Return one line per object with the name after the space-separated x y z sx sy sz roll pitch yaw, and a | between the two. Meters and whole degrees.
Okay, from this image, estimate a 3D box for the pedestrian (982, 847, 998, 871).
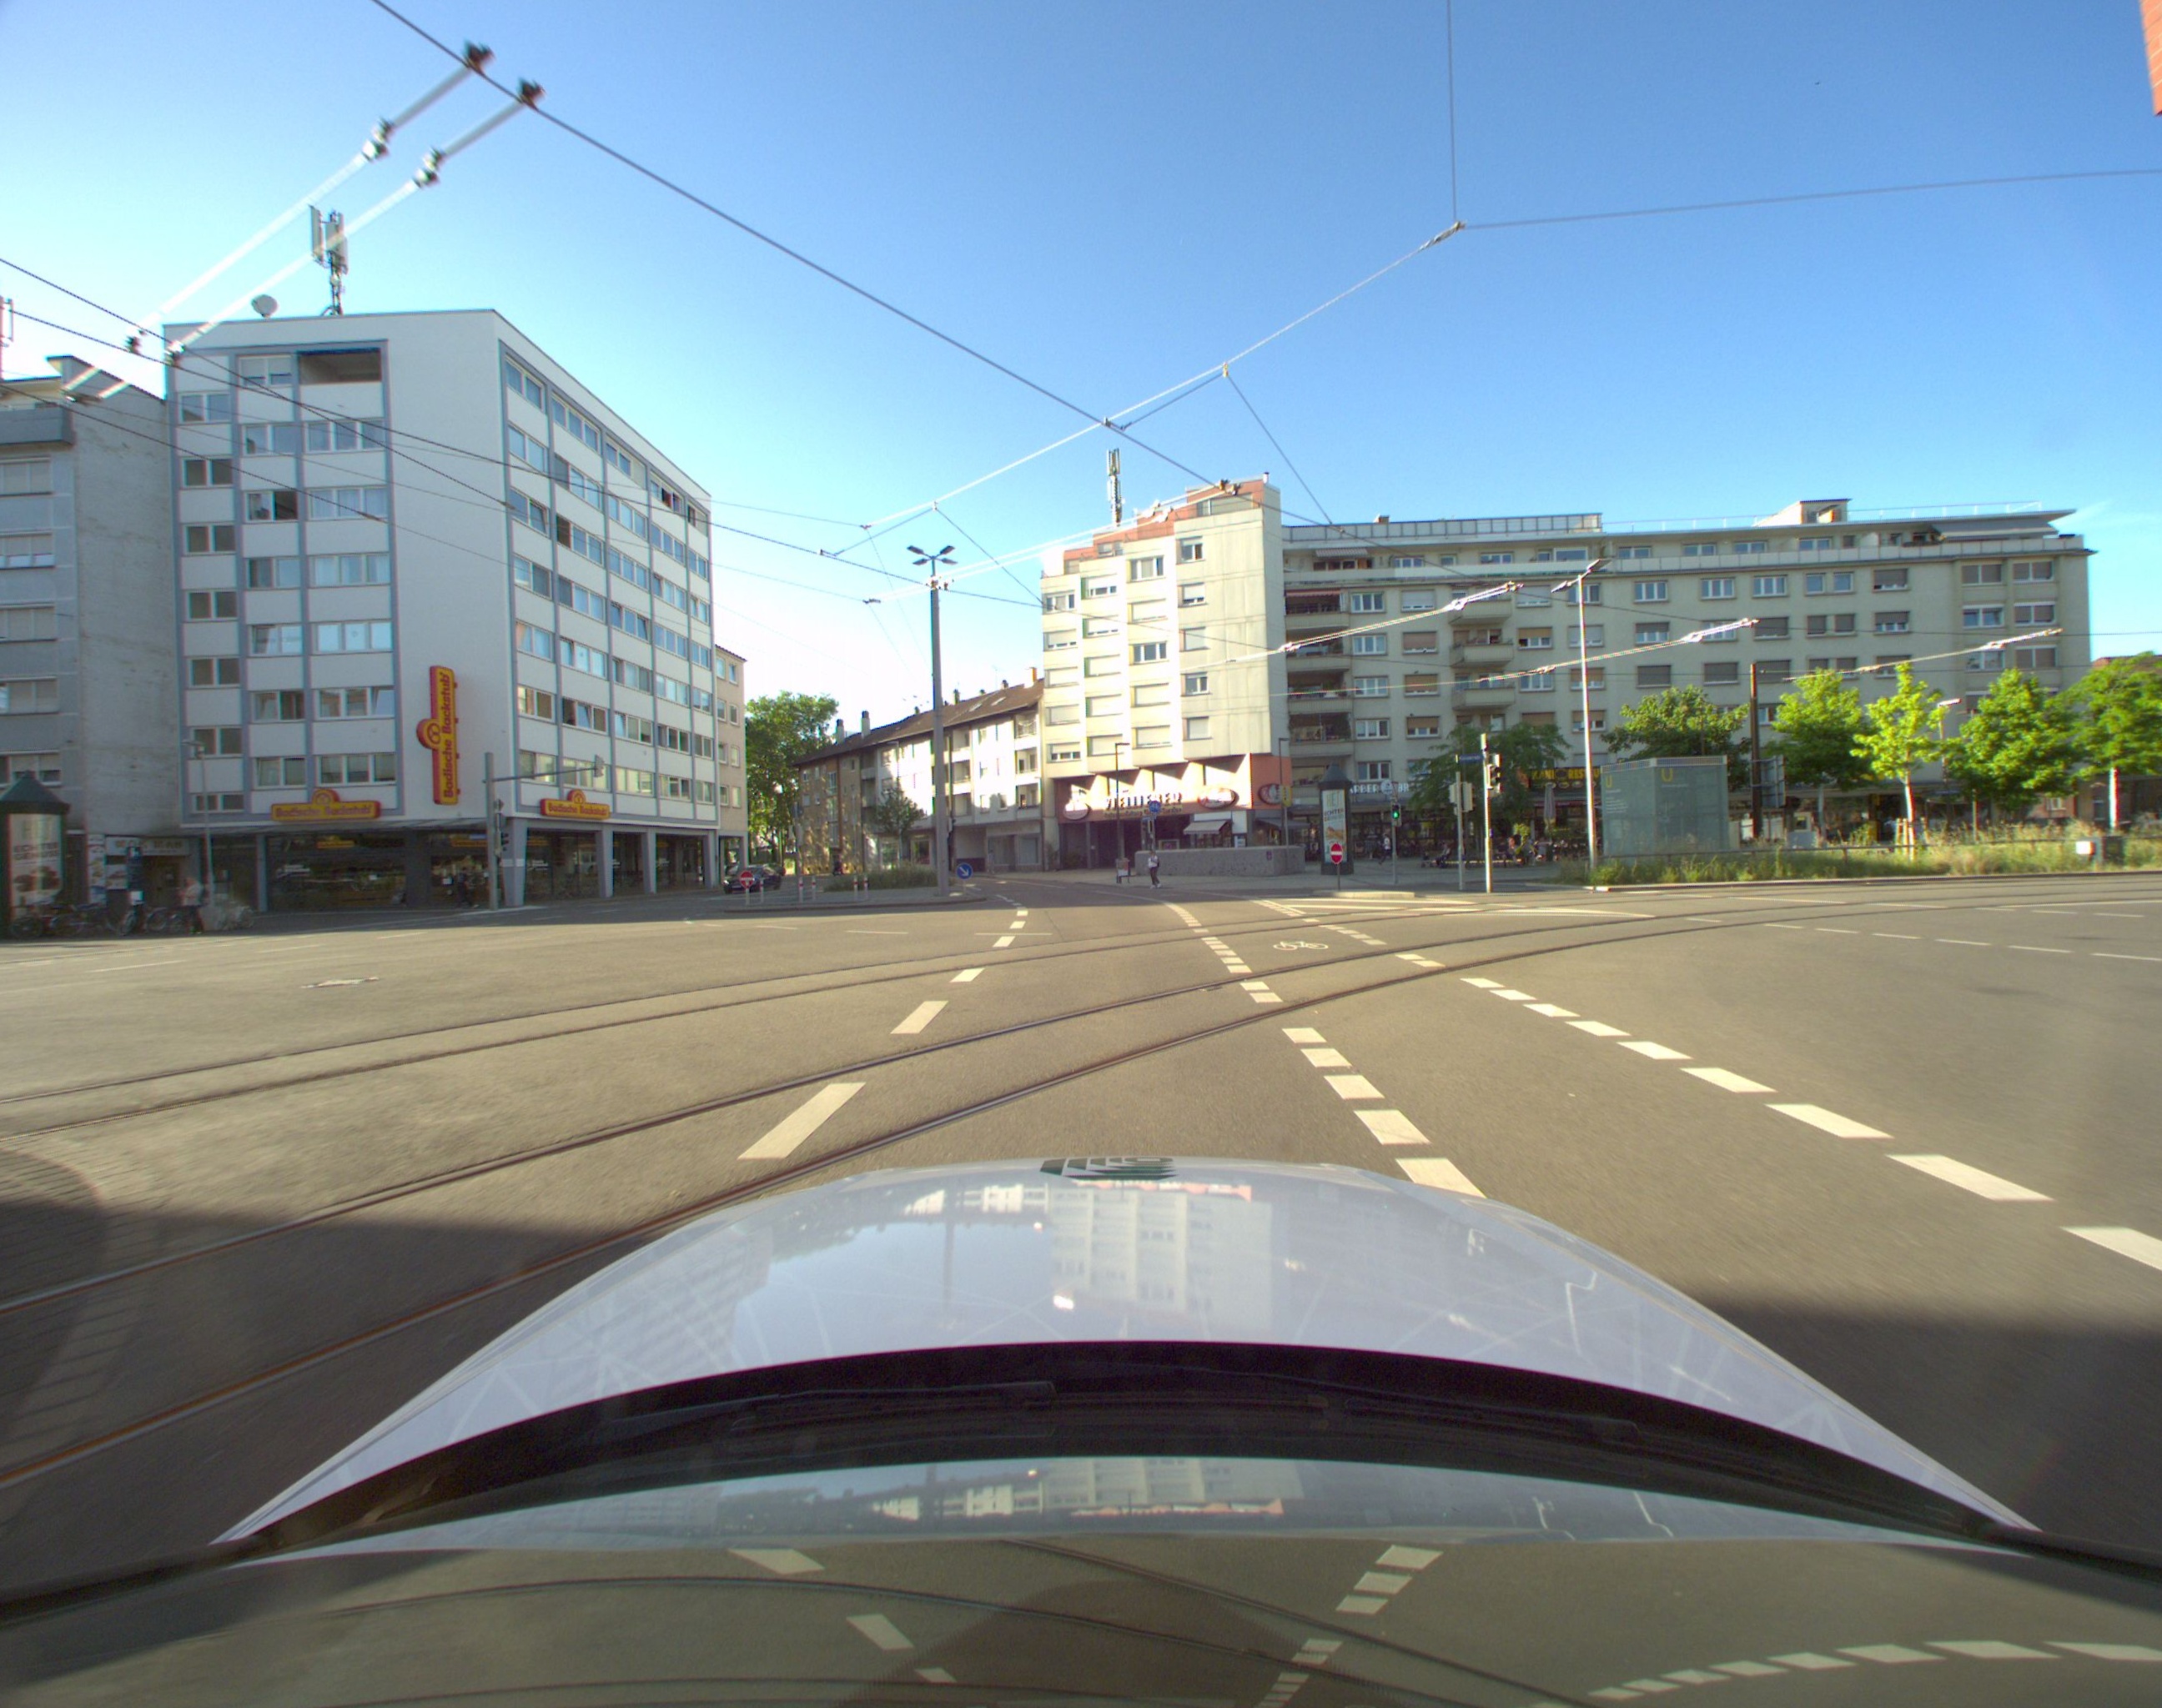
-7.253 0.371 64.912 0.738 1.854 0.936 -5 1 -43 | pedestrian

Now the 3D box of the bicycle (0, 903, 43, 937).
-35.989 2.231 27.004 0.591 1.053 1.852 -2 0 11 | bicycle

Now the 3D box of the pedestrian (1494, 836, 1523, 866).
20.495 -0.140 39.061 0.717 1.364 1.106 -2 1 -6 | pedestrian

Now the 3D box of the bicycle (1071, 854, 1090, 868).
-0.072 0.526 62.940 0.499 1.038 1.618 -2 0 -42 | bicycle

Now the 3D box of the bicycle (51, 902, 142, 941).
-31.436 2.136 26.055 0.594 1.053 2.002 -2 1 -6 | bicycle

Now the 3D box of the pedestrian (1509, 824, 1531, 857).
23.639 -0.733 43.876 0.680 1.745 0.716 -2 0 -8 | pedestrian

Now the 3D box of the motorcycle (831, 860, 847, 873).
-21.822 1.141 73.367 0.973 1.132 2.796 -1 0 -9 | motorcycle

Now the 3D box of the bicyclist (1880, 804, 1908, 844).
40.807 -1.513 40.876 0.790 1.949 0.890 -2 1 -37 | bicyclist

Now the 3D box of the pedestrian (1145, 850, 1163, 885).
3.305 0.617 36.909 0.544 1.583 0.550 -2 0 -40 | pedestrian

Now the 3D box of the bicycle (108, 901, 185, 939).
-30.417 2.137 26.549 0.596 1.053 1.996 -2 1 -15 | bicycle

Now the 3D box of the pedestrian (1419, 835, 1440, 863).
17.937 -0.259 41.897 0.711 1.446 0.935 -1 1 39 | pedestrian

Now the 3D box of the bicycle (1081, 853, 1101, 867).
0.772 0.494 63.208 0.499 1.038 1.618 -2 0 -42 | bicycle

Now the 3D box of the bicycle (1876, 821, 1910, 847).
40.796 -1.013 40.893 2.224 1.252 0.890 -2 1 -37 | bicycle

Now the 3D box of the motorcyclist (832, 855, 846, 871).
-21.837 0.807 73.483 0.970 1.347 1.134 -1 0 -9 | motorcyclist

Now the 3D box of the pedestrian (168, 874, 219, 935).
-27.340 1.541 25.090 0.625 1.791 0.786 -2 0 4 | pedestrian

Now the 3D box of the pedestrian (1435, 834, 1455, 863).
18.337 -0.292 40.992 0.711 1.420 0.935 -2 1 34 | pedestrian

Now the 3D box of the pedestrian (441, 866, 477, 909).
-25.463 1.359 33.338 0.801 1.724 0.777 -2 0 3 | pedestrian

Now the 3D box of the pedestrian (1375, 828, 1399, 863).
16.767 -0.452 44.647 1.037 1.866 0.688 -2 0 5 | pedestrian

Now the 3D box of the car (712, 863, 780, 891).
-18.586 1.261 45.409 1.827 1.386 4.595 -2 0 0 | car

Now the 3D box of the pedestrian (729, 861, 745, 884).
-25.953 1.371 61.467 0.766 1.724 0.812 -2 -1 44 | pedestrian

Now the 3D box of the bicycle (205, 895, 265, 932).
-28.069 1.957 27.064 0.597 1.053 1.991 -2 1 -23 | bicycle

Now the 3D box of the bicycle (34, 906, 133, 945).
-32.452 2.318 26.546 0.591 1.053 2.010 -2 1 7 | bicycle

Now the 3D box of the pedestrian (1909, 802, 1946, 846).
33.026 -1.158 31.787 0.750 1.671 0.634 -2 0 -3 | pedestrian

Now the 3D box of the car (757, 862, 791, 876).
-33.056 1.630 87.570 3.950 1.388 1.941 -2 0 44 | car
